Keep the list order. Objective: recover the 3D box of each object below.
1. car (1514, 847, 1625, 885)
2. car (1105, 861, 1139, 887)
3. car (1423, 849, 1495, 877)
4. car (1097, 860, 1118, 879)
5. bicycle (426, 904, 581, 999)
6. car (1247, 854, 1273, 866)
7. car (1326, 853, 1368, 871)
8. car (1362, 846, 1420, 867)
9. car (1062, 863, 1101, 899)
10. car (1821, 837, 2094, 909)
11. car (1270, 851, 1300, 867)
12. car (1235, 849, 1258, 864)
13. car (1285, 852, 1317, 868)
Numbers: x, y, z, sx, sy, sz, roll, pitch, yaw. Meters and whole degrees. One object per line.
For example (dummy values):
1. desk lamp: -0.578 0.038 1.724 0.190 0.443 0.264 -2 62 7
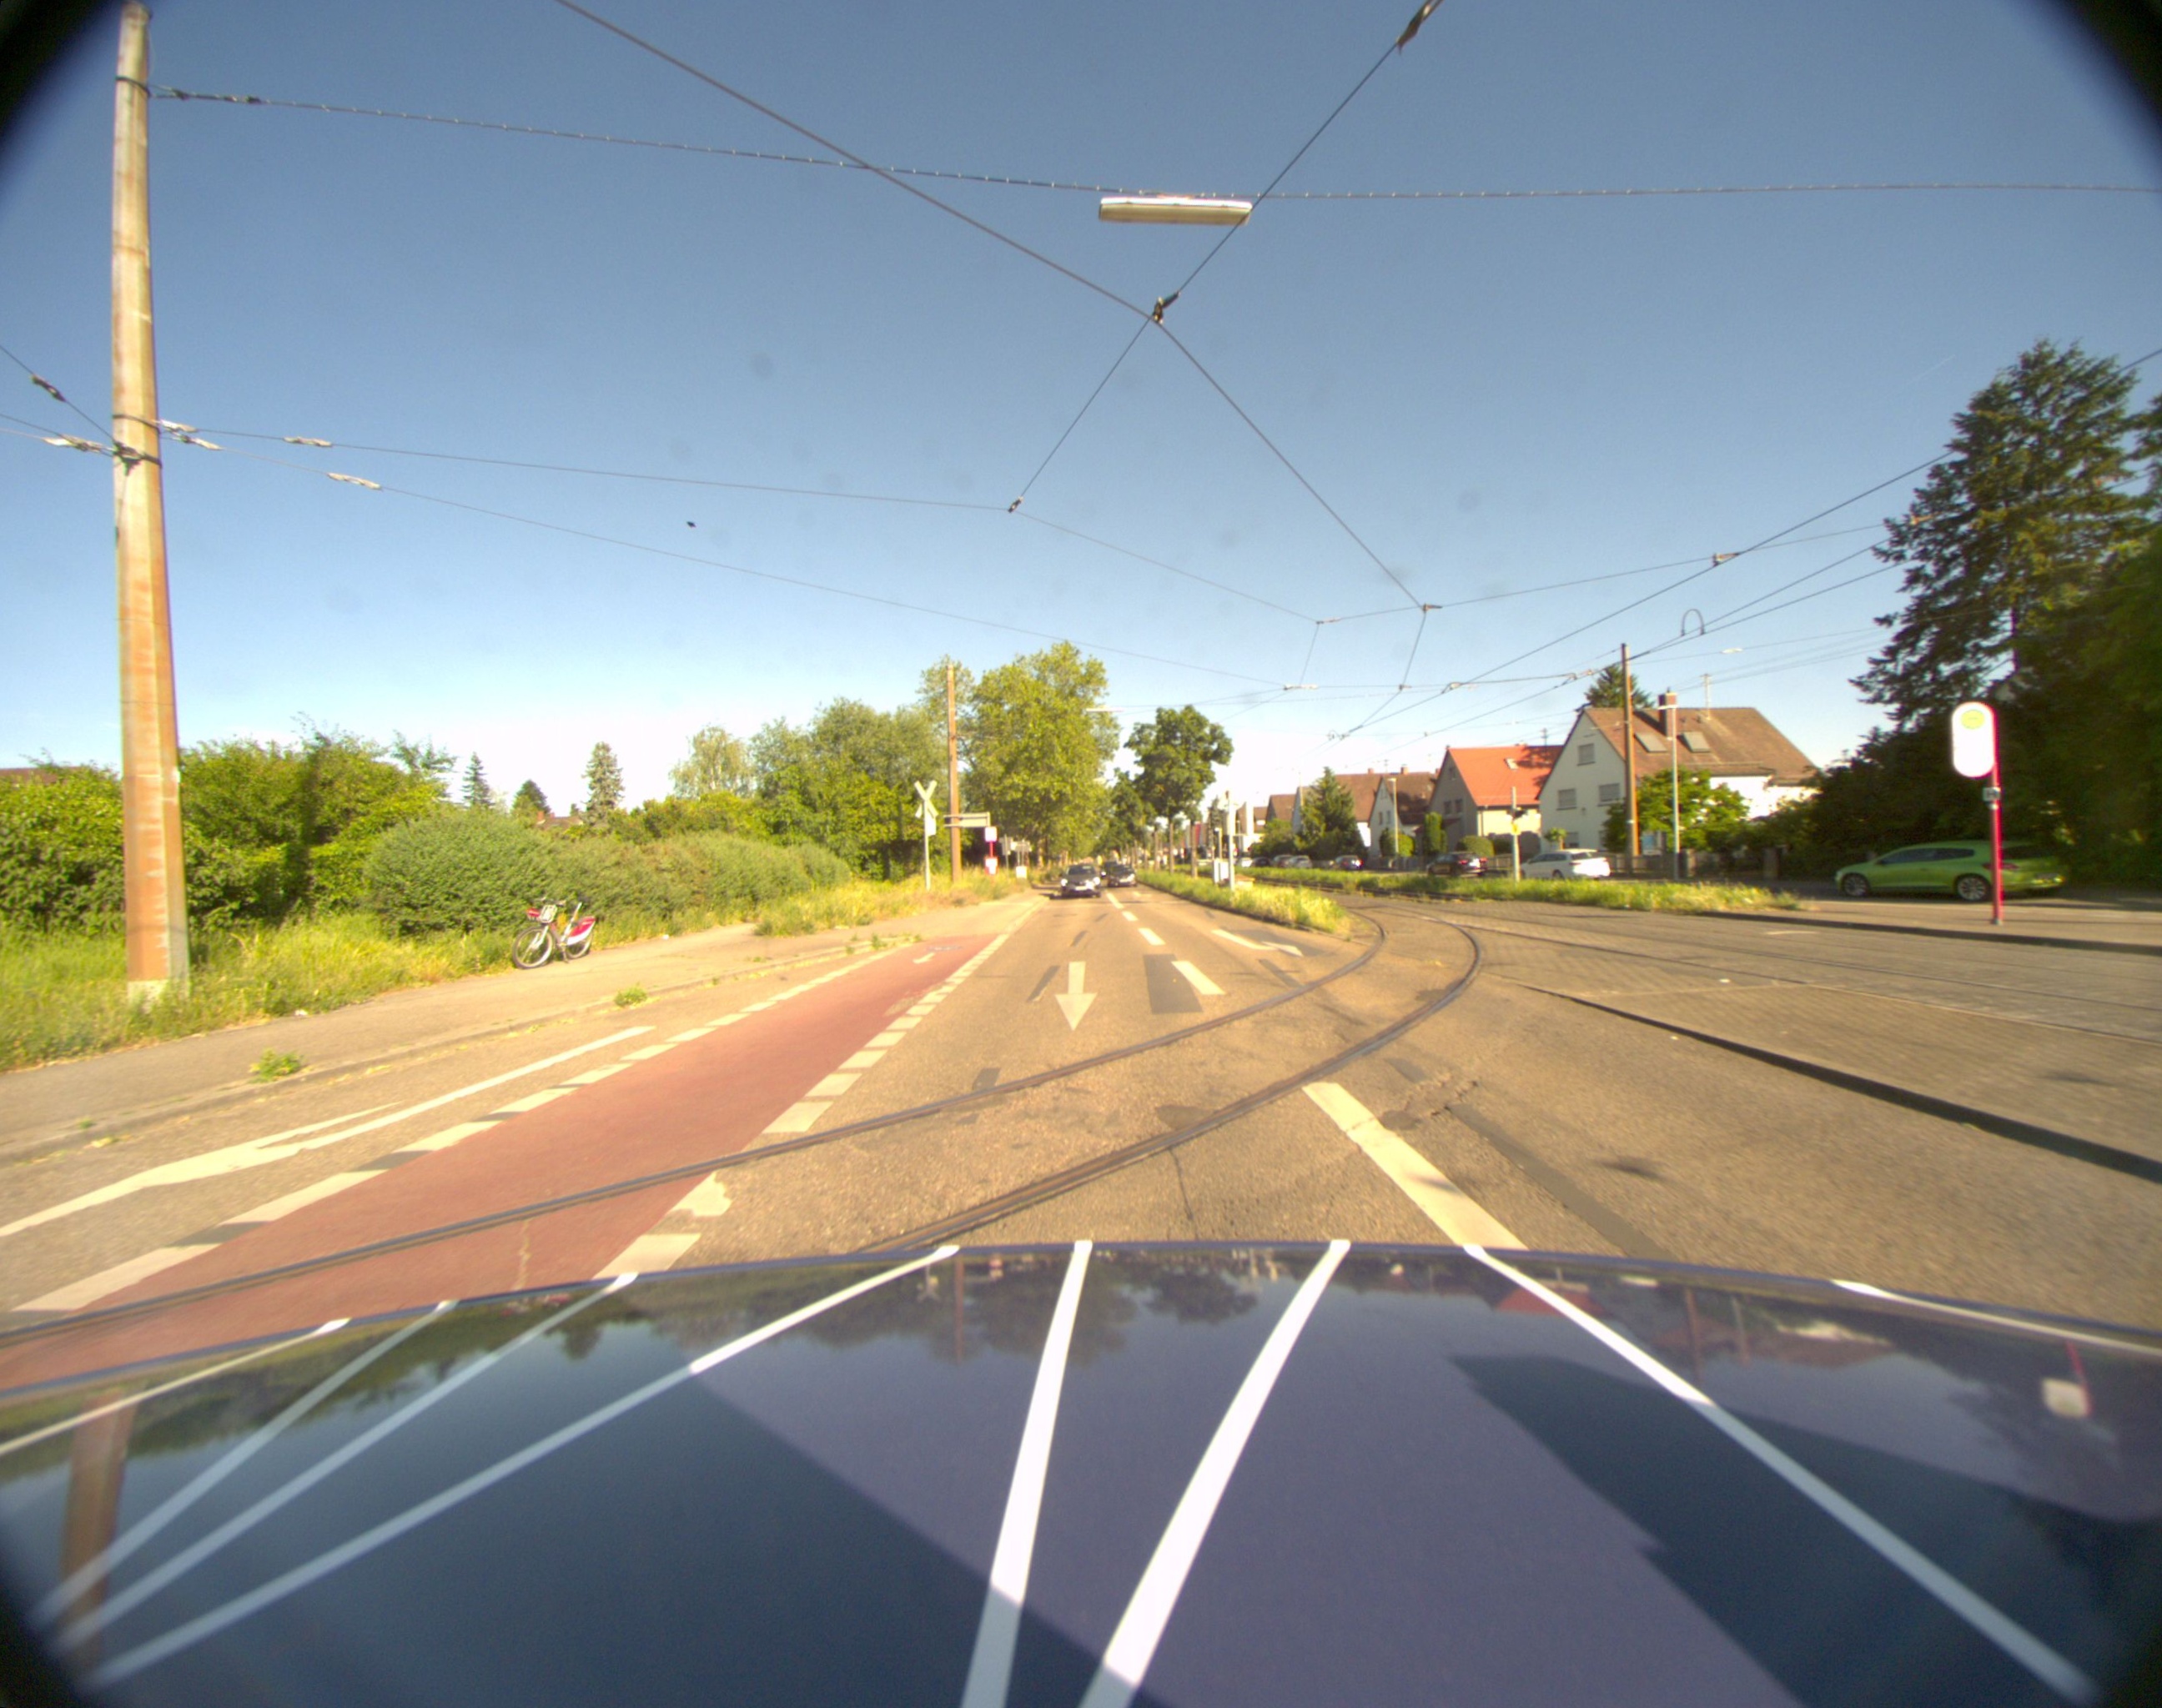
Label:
1. car: 21.641 0.488 33.944 1.888 1.464 4.614 -3 0 -1
2. car: 2.525 1.238 48.029 1.780 1.441 4.333 -2 0 -1
3. car: 21.698 0.479 43.792 1.912 1.457 4.441 -3 0 1
4. car: 2.400 1.394 70.322 1.779 1.620 4.288 -2 0 0
5. bicycle: -8.439 1.378 11.230 0.366 1.128 2.097 -2 0 10
6. car: 22.018 0.705 93.419 1.998 1.333 4.982 -3 0 1
7. car: 21.816 0.623 62.490 1.998 1.363 4.310 -2 0 1
8. car: 27.758 0.221 68.105 4.488 1.462 1.748 -4 0 -1
9. car: 0.003 1.213 35.367 1.673 1.529 3.586 -2 0 0
10. car: 21.690 0.428 19.102 1.999 1.492 4.067 -3 0 -4
11. car: 21.889 0.583 81.717 1.888 1.552 4.537 -4 0 1
12. car: 22.227 0.337 102.268 1.998 1.852 4.584 -2 0 1
13. car: 22.131 0.621 76.662 1.888 1.463 4.839 -4 0 1
